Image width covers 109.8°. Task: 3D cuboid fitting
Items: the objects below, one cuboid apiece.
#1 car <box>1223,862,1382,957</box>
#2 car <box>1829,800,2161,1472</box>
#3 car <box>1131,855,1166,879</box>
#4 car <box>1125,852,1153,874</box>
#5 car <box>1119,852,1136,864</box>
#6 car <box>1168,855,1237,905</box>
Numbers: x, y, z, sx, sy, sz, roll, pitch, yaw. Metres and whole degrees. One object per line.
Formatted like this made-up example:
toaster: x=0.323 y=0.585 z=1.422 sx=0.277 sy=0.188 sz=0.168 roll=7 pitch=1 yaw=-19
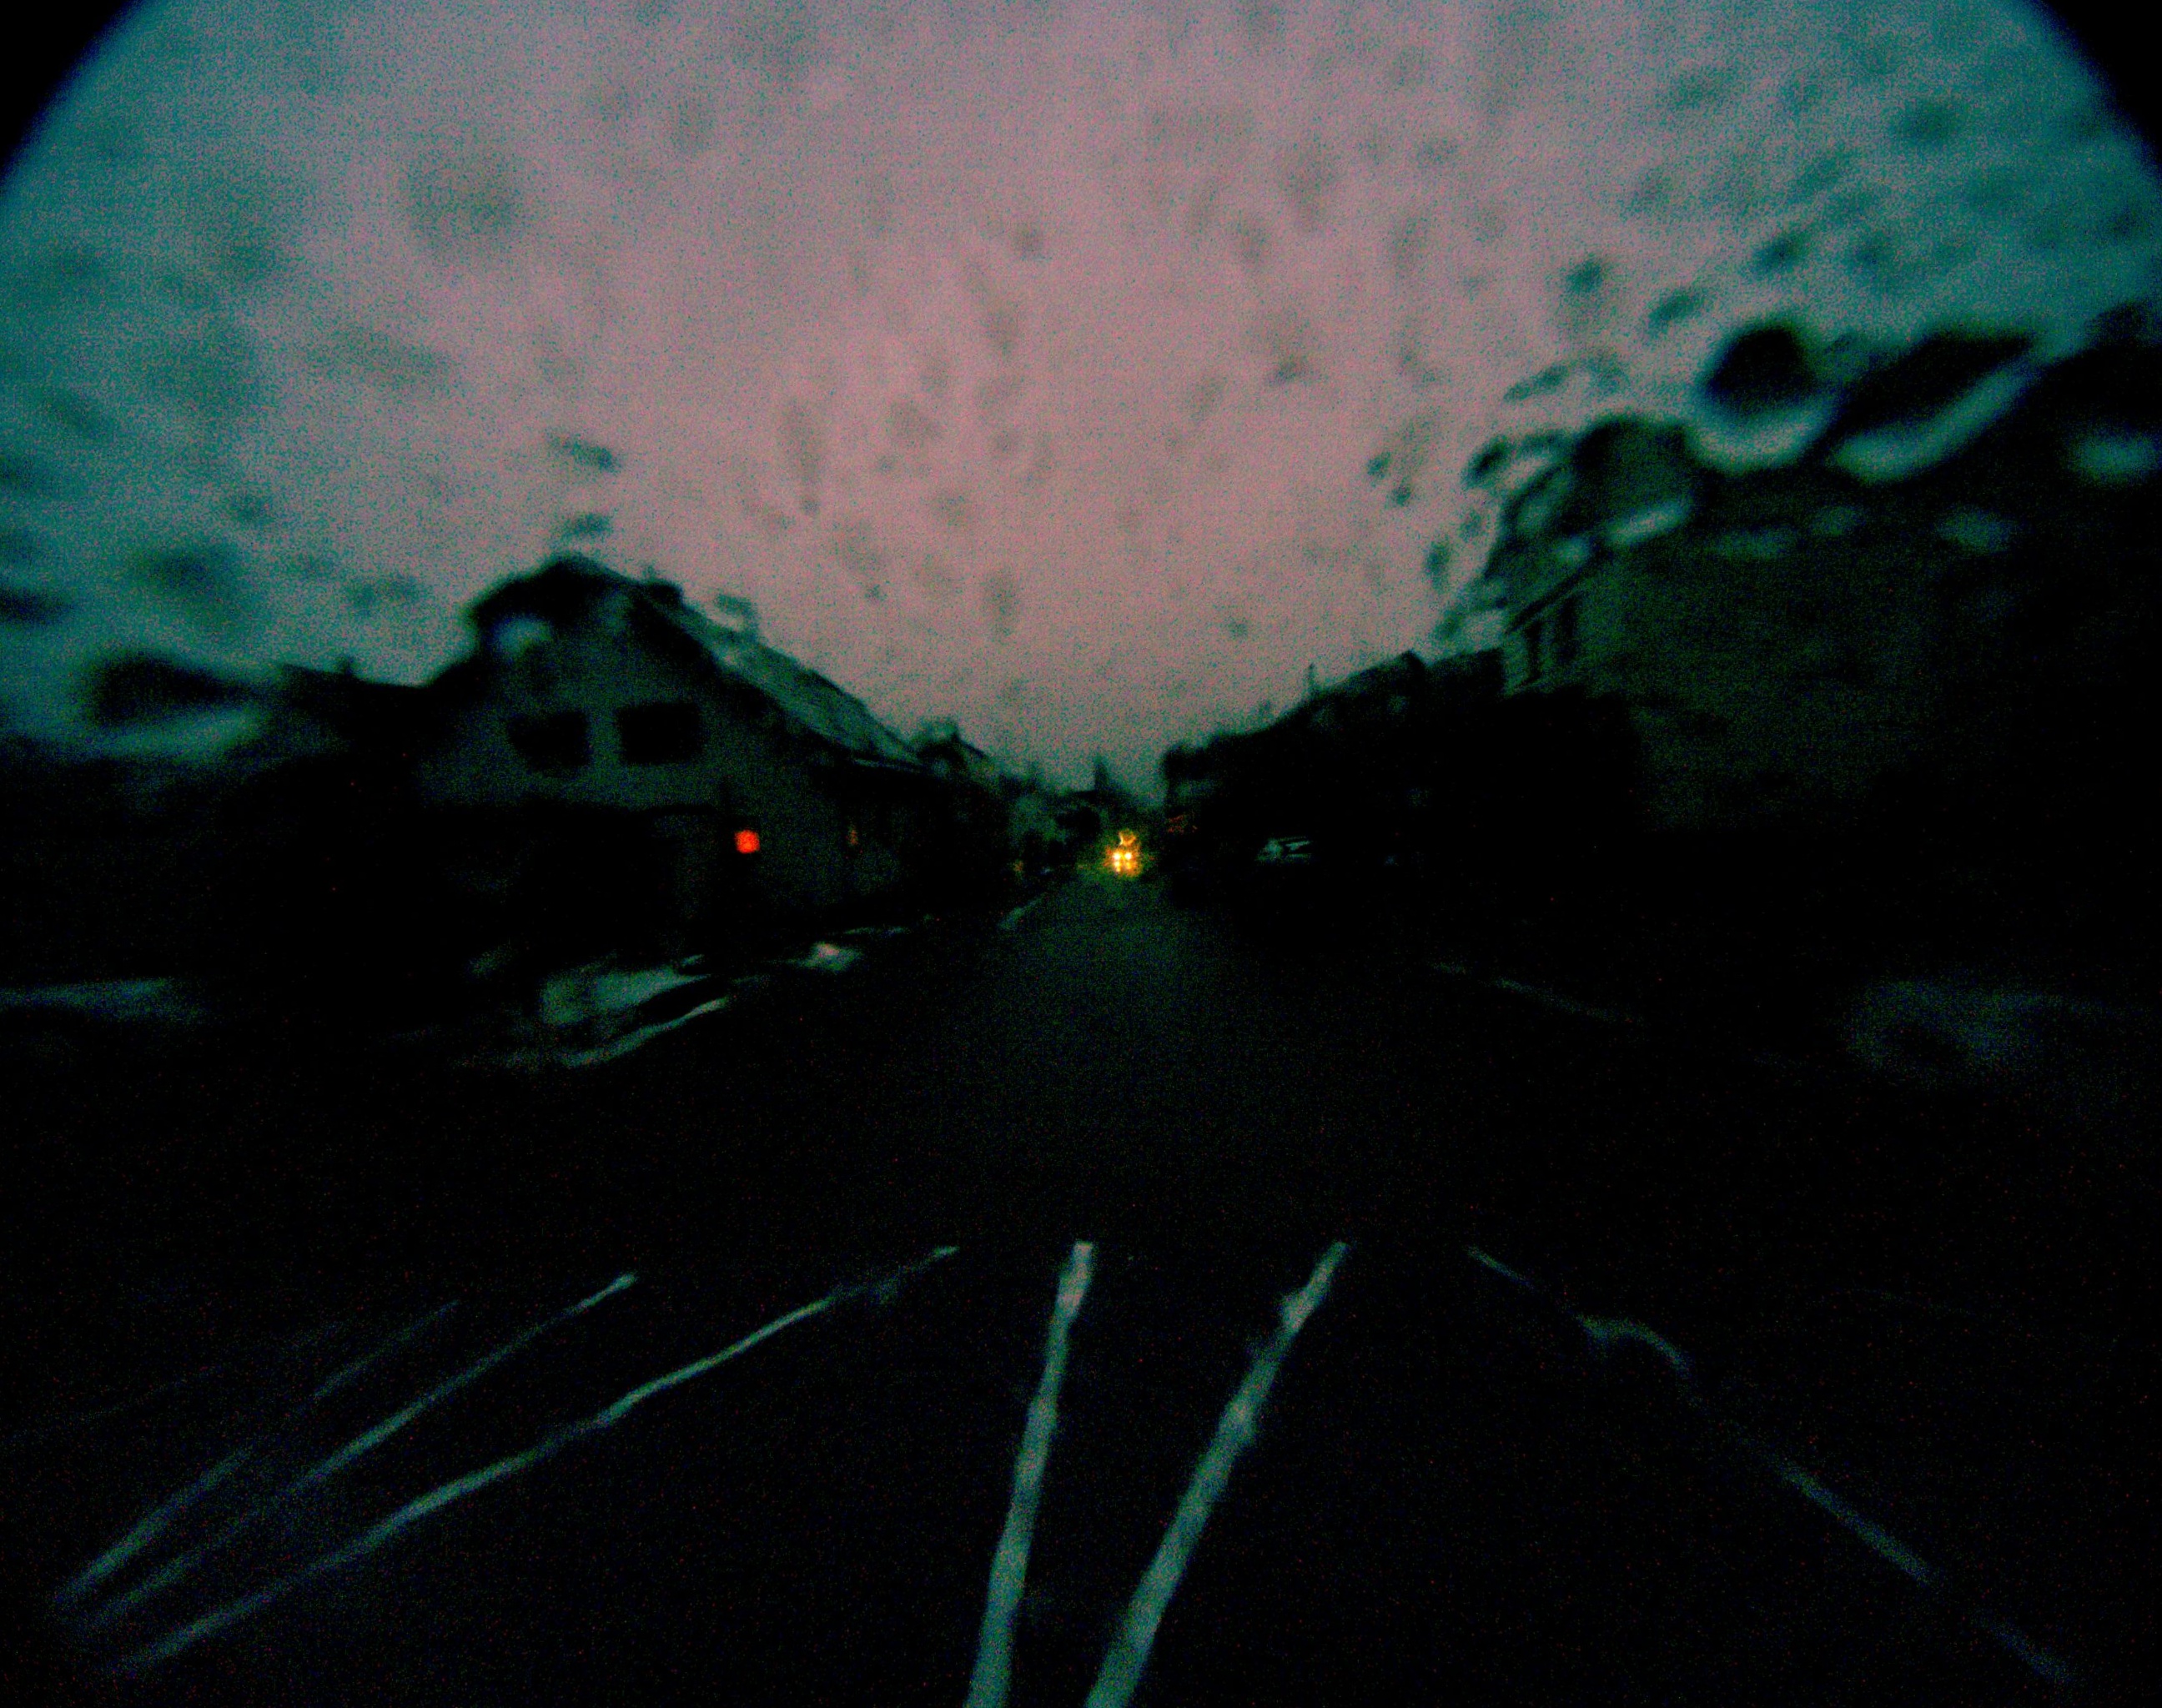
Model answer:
car: x=3.995 y=0.925 z=14.431 sx=1.830 sy=1.457 sz=4.000 roll=-1 pitch=0 yaw=0
car: x=3.716 y=0.713 z=0.789 sx=1.776 sy=1.782 sz=4.128 roll=-2 pitch=0 yaw=0
car: x=4.292 y=0.806 z=48.893 sx=1.721 sy=1.404 sz=3.729 roll=-2 pitch=1 yaw=-2
car: x=4.643 y=0.716 z=61.117 sx=1.721 sy=1.616 sz=3.729 roll=-2 pitch=1 yaw=-2
car: x=6.476 y=0.547 z=105.607 sx=1.755 sy=1.487 sz=4.252 roll=-2 pitch=1 yaw=10
car: x=4.131 y=0.837 z=26.410 sx=1.767 sy=1.543 sz=4.000 roll=-1 pitch=0 yaw=1
